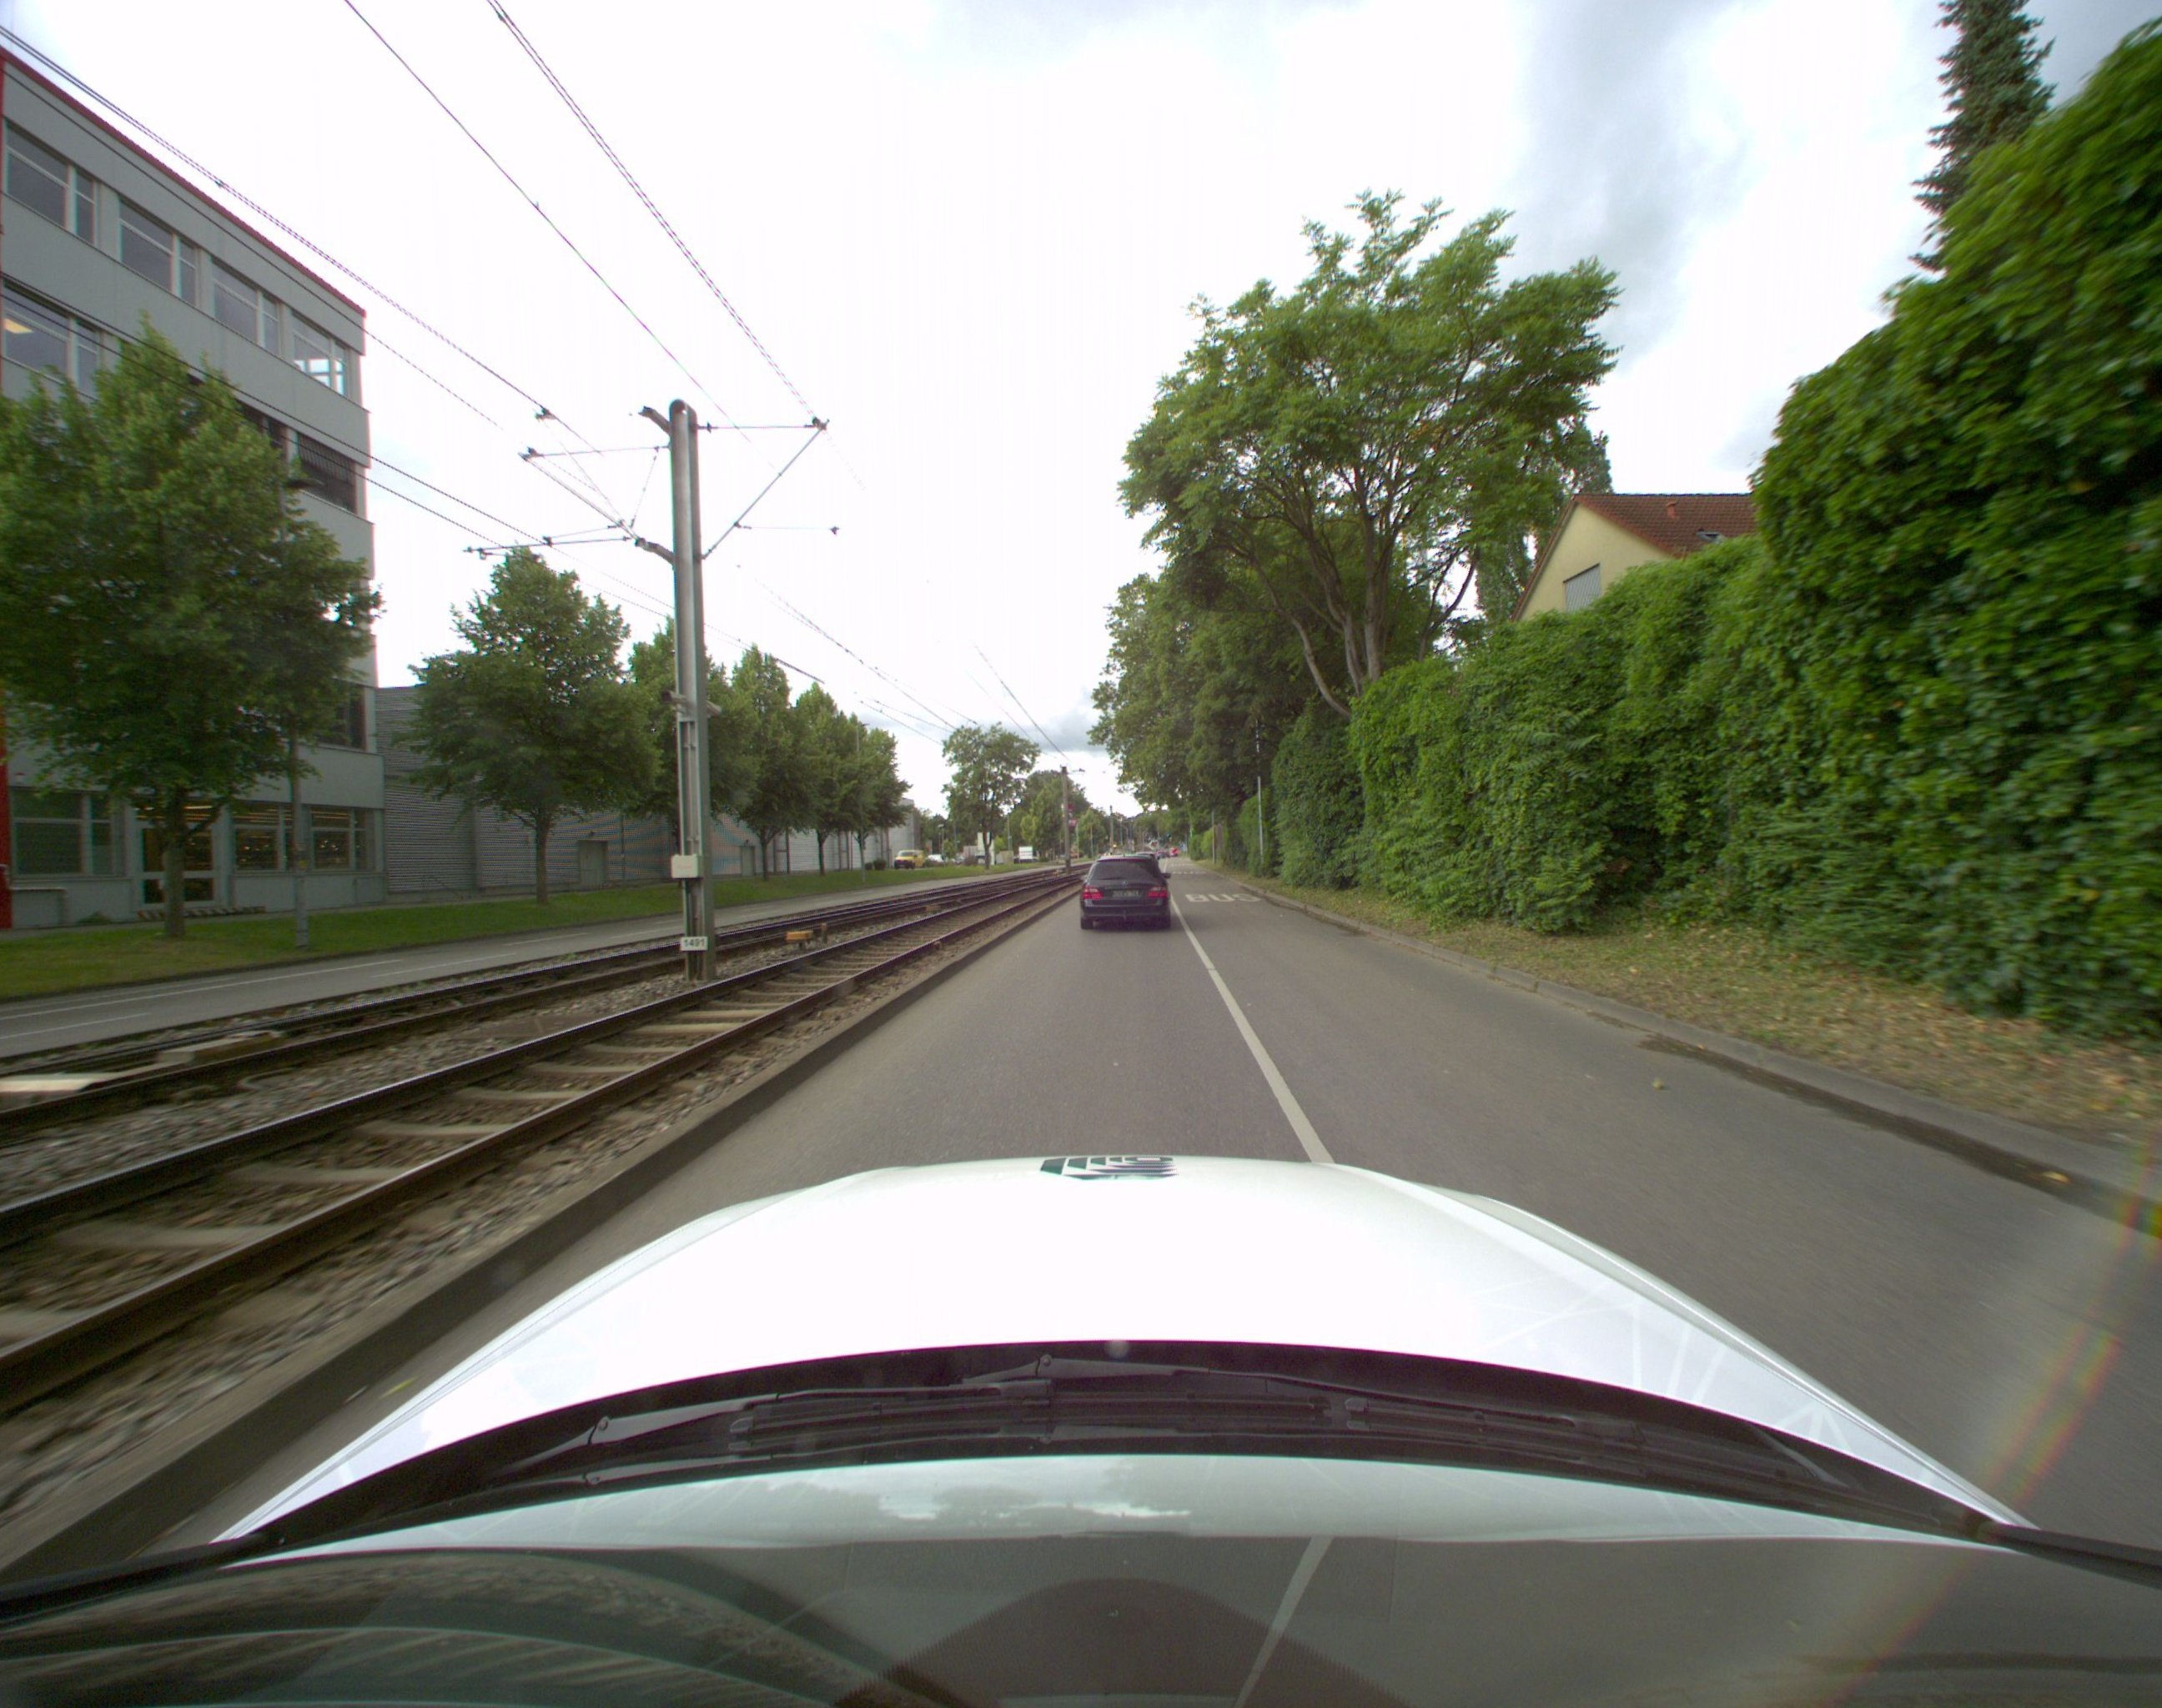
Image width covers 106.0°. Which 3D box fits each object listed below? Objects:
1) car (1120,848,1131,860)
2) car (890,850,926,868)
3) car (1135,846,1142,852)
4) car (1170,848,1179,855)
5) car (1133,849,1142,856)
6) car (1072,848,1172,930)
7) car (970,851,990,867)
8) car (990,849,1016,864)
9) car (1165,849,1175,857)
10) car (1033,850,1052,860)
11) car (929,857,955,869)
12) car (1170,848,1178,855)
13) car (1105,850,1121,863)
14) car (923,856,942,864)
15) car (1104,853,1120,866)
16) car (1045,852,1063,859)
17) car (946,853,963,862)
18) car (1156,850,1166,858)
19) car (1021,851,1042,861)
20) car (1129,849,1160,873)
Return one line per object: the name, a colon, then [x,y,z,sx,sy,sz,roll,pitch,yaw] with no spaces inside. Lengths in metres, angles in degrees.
car: [7.849,-0.037,143.540,1.884,2.013,3.900,-4,0,2]
car: [-16.996,0.480,80.373,1.983,1.743,4.996,-2,0,6]
car: [16.064,-1.504,226.725,1.834,1.644,3.889,-2,0,3]
car: [22.577,-0.577,196.841,1.817,1.530,4.183,-1,0,4]
car: [12.580,-0.405,181.151,1.817,1.530,4.183,-1,0,4]
car: [0.876,0.662,17.368,1.826,1.478,4.419,-1,0,3]
car: [-13.557,0.692,109.603,1.986,2.013,4.001,-4,0,2]
car: [-12.458,0.343,130.302,3.978,2.123,1.998,-4,-1,-3]
car: [18.033,-0.203,164.810,1.817,1.530,4.183,-1,0,4]
car: [-7.731,0.214,162.178,3.688,1.816,1.791,-2,0,-6]
car: [-22.997,1.491,134.820,3.992,1.680,1.991,-4,-1,-13]
car: [23.957,-0.626,209.562,1.817,1.530,4.183,-1,0,4]
car: [4.085,0.342,103.324,1.817,1.530,3.990,-1,0,4]
car: [-33.637,1.349,184.362,3.974,1.680,2.000,-4,-1,0]
car: [3.779,0.641,98.774,1.817,1.530,3.990,-1,0,4]
car: [-6.124,0.365,185.353,3.968,1.644,2.003,-2,0,4]
car: [-33.332,0.898,214.802,3.967,2.013,2.003,-4,-1,6]
car: [15.332,0.032,156.218,1.817,1.530,4.420,-1,0,4]
car: [-9.169,0.403,150.742,3.688,1.816,1.791,-2,0,-6]
car: [4.244,0.430,55.034,1.818,1.530,4.417,-1,0,1]
